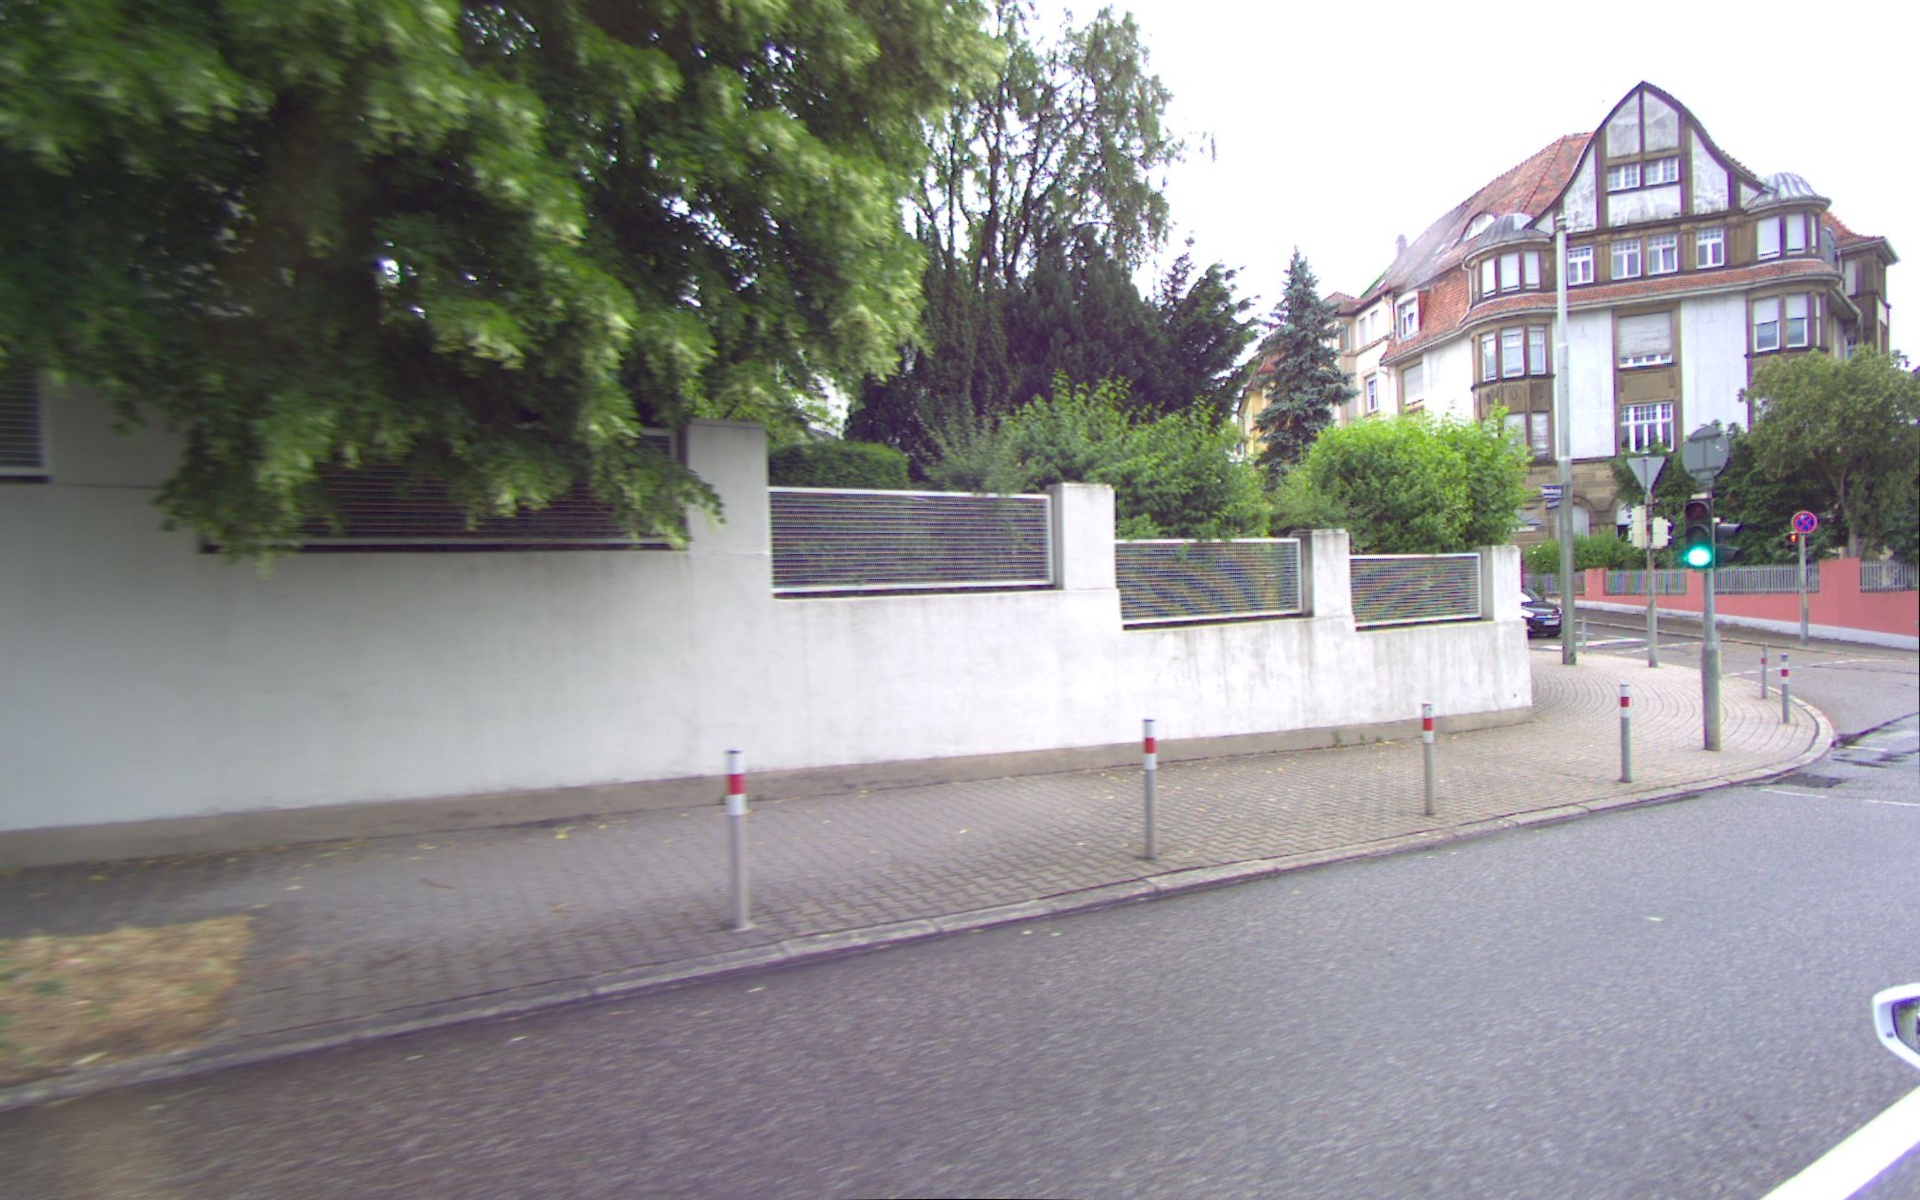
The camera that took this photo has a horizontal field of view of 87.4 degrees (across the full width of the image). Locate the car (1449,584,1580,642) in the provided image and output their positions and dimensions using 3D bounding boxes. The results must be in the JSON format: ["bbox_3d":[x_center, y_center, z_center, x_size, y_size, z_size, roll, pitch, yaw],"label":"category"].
[{"bbox_3d":[16.323,0.336,29.722,1.641,1.458,3.358,-3,3,-10],"label":"car"}]
